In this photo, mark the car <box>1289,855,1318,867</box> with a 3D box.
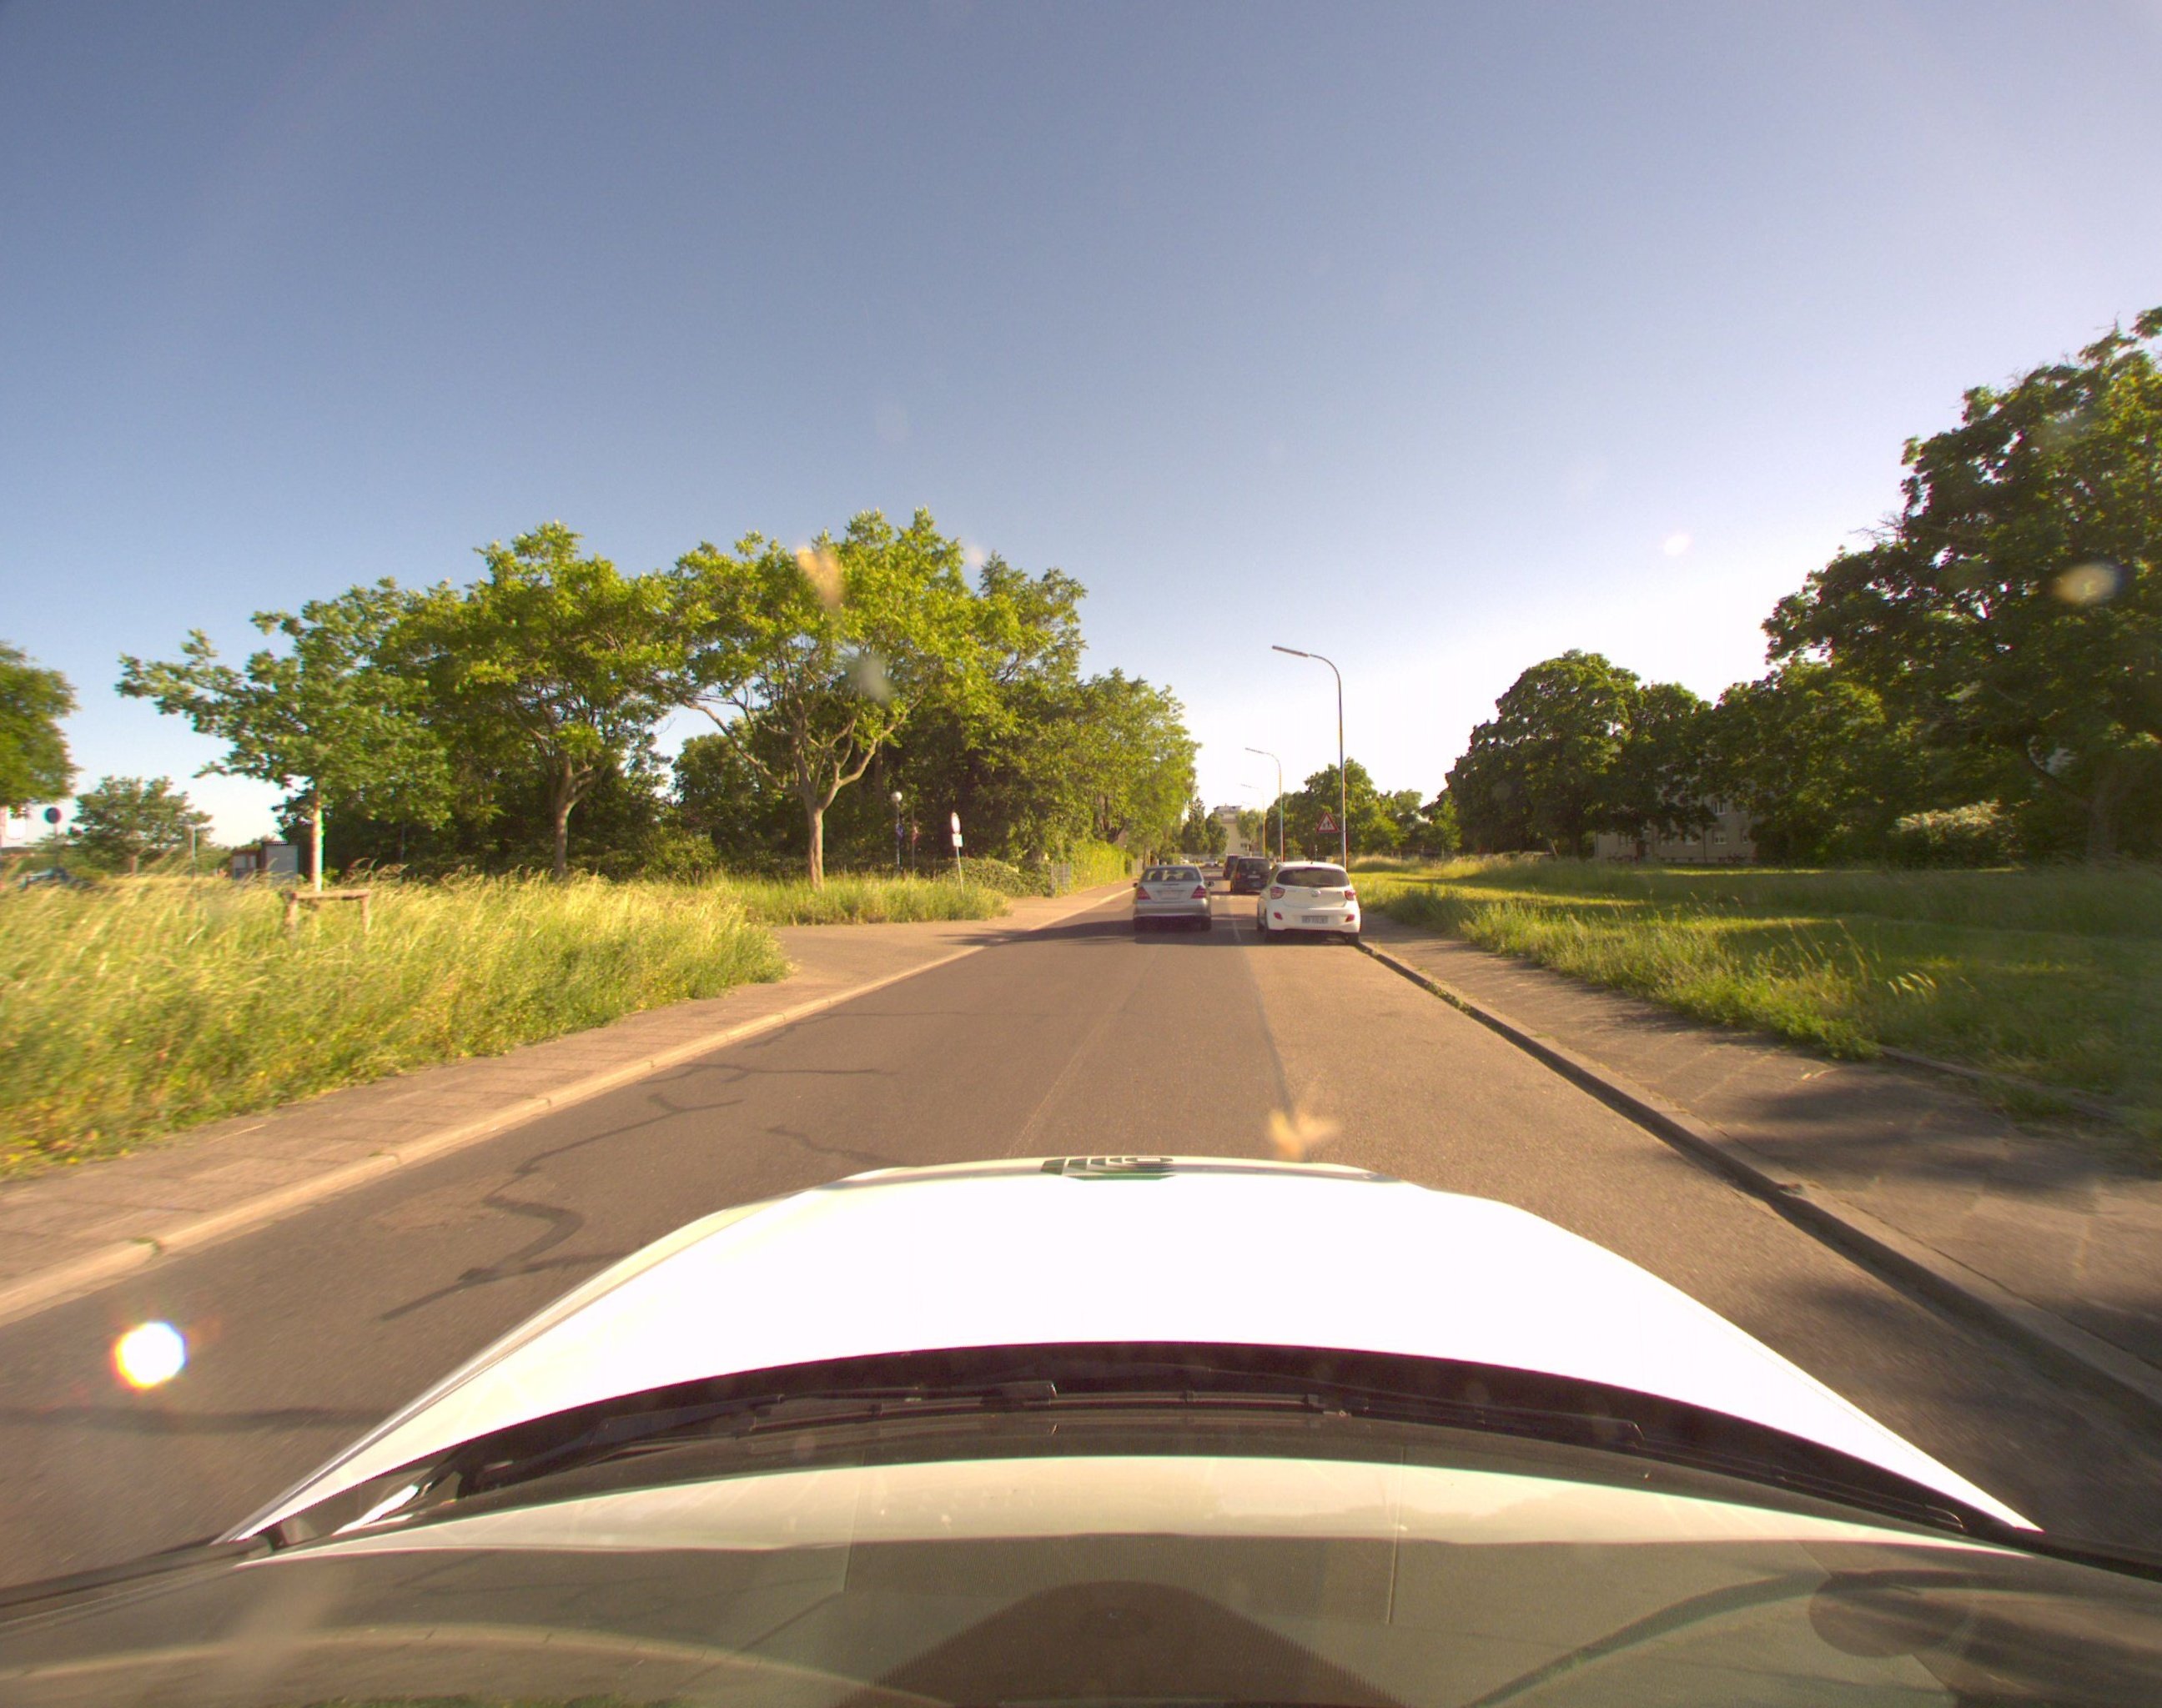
[{"bbox_3d":[30.785,0.969,112.629,3.669,1.442,1.709,-2,-3,24],"label":"car"}]

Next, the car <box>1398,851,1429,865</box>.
[{"bbox_3d":[43.648,0.532,107.000,3.669,1.618,1.709,-2,-3,24],"label":"car"}]

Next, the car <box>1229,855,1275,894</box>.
[{"bbox_3d":[7.540,0.850,36.183,1.689,1.610,4.009,-1,0,8],"label":"car"}]

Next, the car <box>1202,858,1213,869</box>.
[{"bbox_3d":[22.217,1.620,142.650,1.874,1.728,4.009,-1,-2,9],"label":"car"}]

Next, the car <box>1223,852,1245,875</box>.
[{"bbox_3d":[12.787,0.775,68.248,1.688,1.851,3.860,1,0,9],"label":"car"}]

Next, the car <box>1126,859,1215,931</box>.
[{"bbox_3d":[2.144,0.871,18.845,1.806,1.463,4.371,0,-1,8],"label":"car"}]

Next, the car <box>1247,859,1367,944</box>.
[{"bbox_3d":[4.352,0.853,16.204,1.713,1.479,3.747,1,-1,6],"label":"car"}]

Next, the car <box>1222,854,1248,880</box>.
[{"bbox_3d":[10.867,0.864,57.704,1.688,1.759,3.860,1,0,9],"label":"car"}]

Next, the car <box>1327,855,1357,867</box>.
[{"bbox_3d":[35.553,0.968,110.942,3.669,1.471,1.709,-2,-3,24],"label":"car"}]
